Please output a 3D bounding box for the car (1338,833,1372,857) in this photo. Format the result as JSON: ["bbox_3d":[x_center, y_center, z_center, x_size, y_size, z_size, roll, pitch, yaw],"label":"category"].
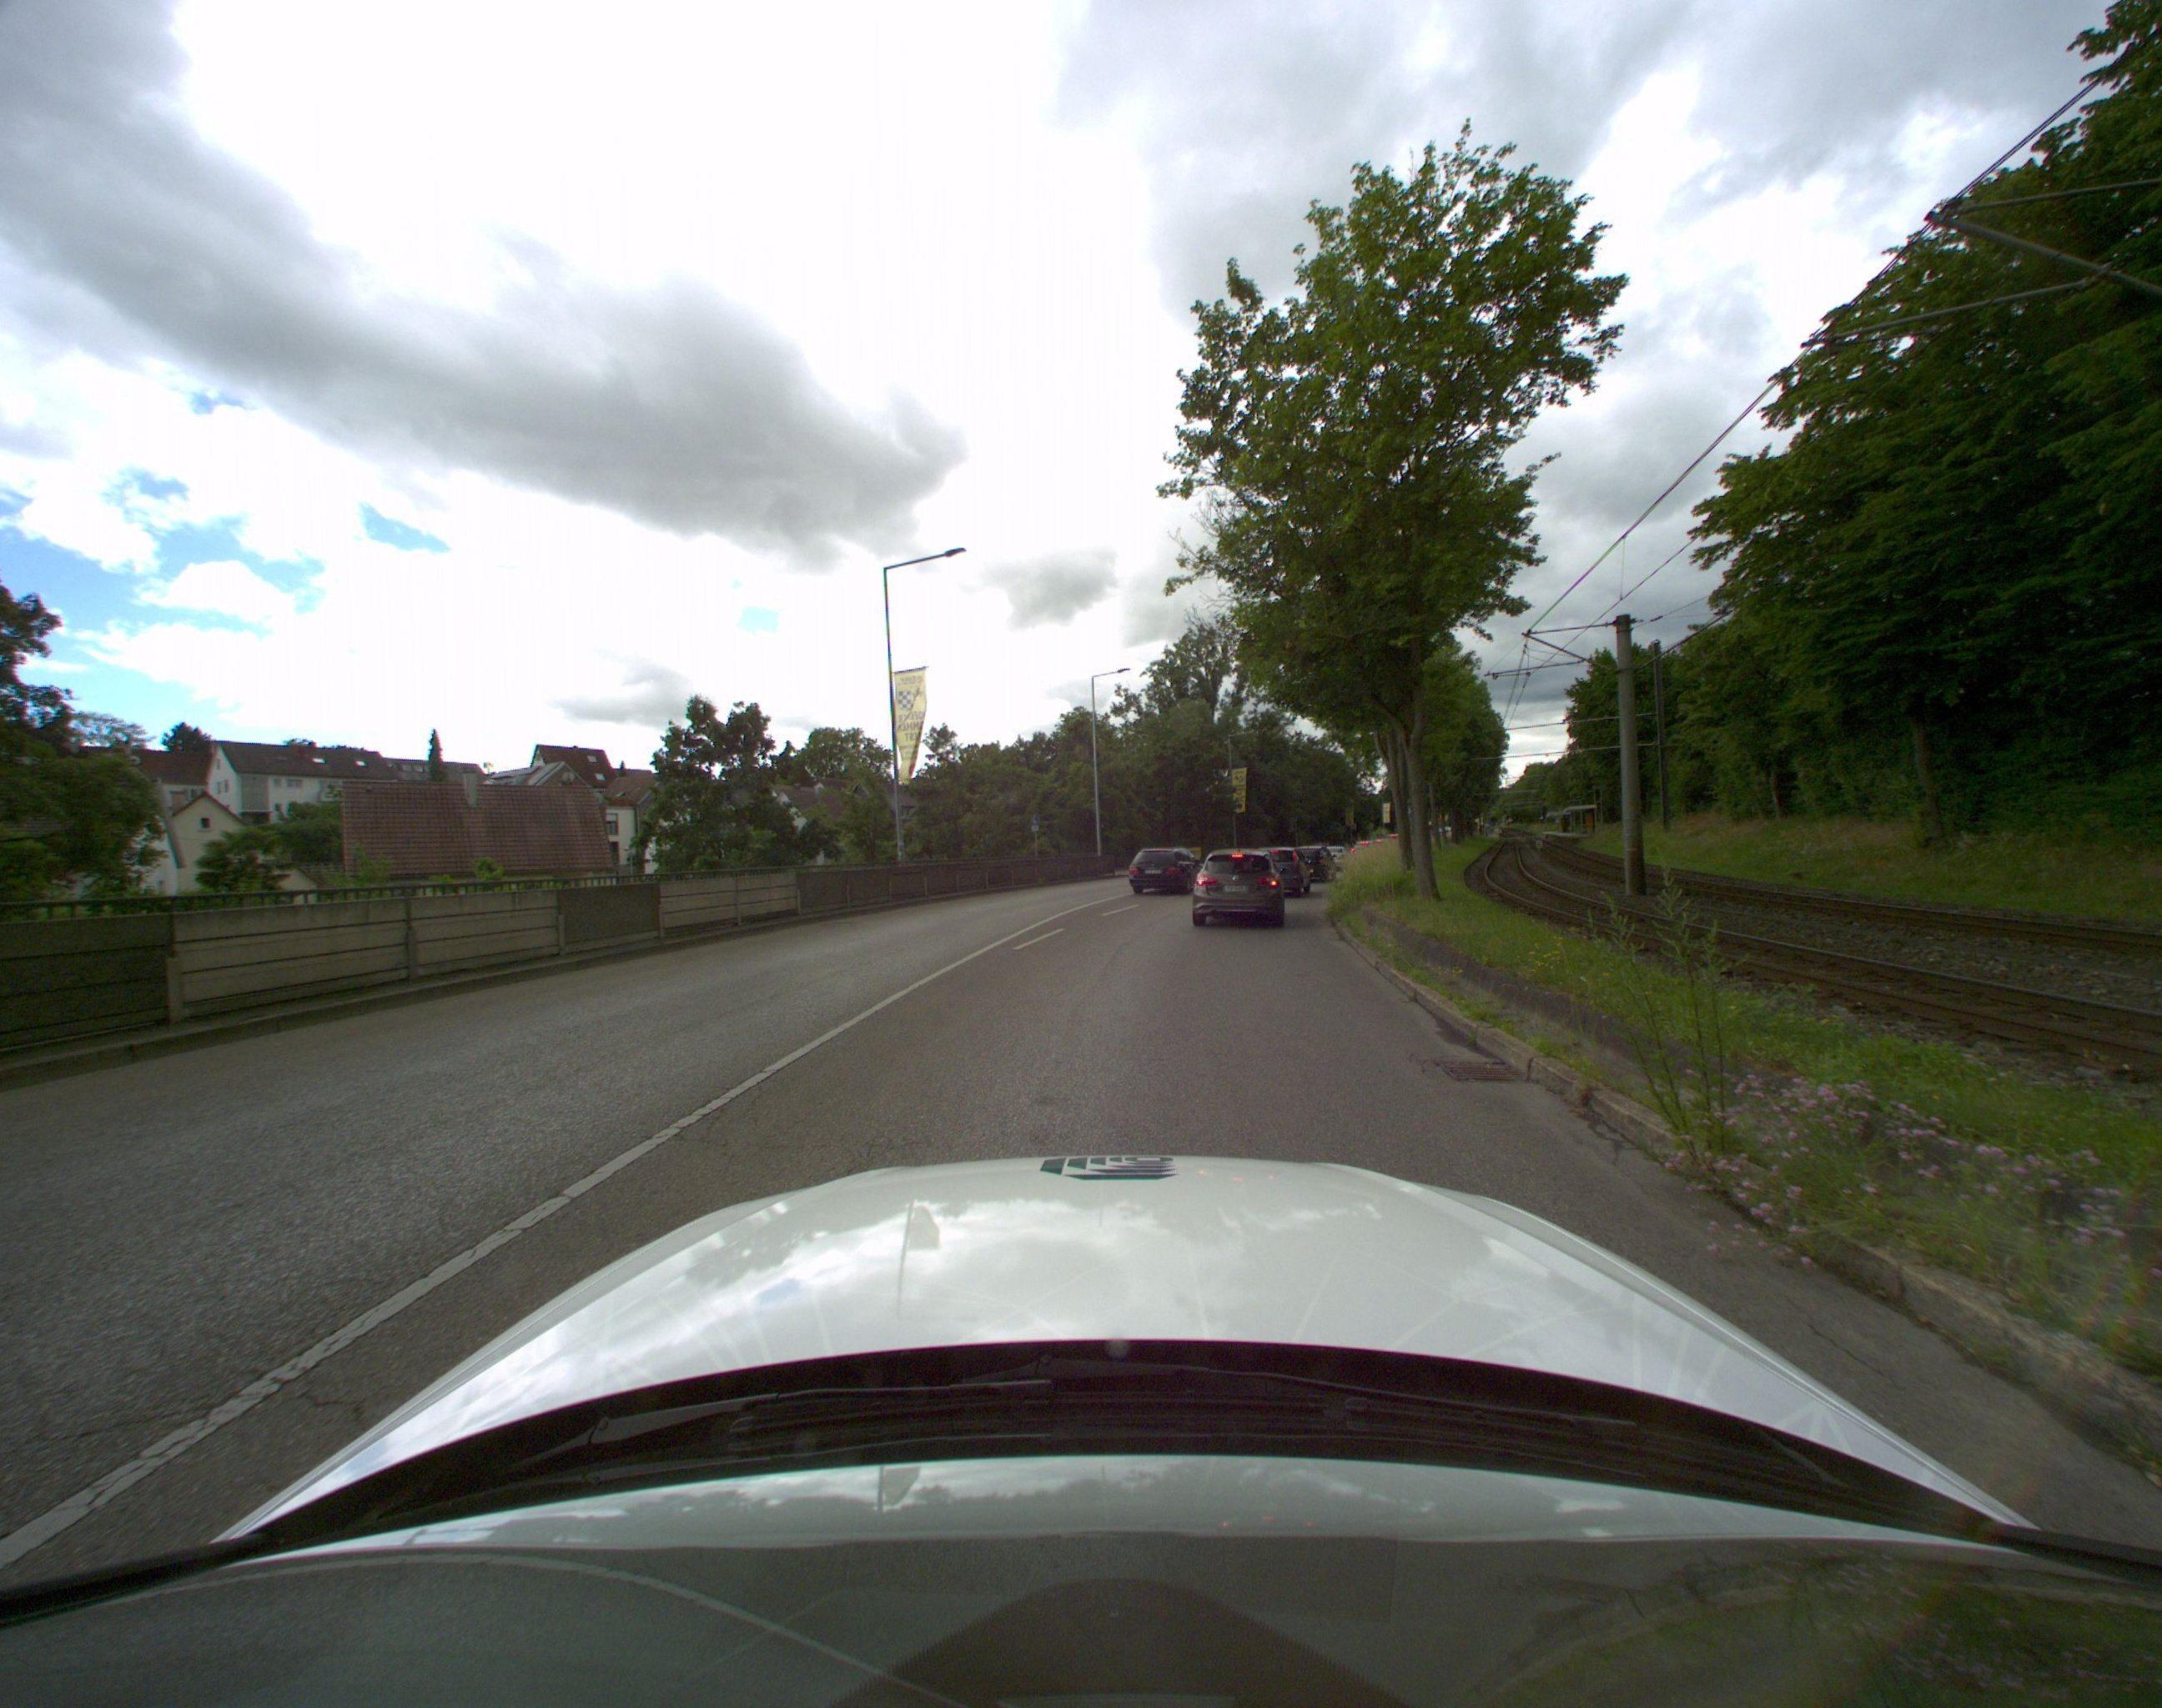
[{"bbox_3d":[18.008,-0.567,53.447,1.788,1.540,4.022,0,0,23],"label":"car"}]

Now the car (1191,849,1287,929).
[{"bbox_3d":[3.419,0.657,17.244,1.762,1.494,4.014,0,0,13],"label":"car"}]

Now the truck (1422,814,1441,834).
[{"bbox_3d":[75.319,-6.391,174.809,2.629,3.938,10.174,-1,1,29],"label":"truck"}]

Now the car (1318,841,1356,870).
[{"bbox_3d":[13.423,0.067,42.623,1.487,1.364,3.607,-3,-1,23],"label":"car"}]

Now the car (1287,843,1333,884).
[{"bbox_3d":[9.377,0.358,33.179,1.565,1.538,4.019,-3,-1,18],"label":"car"}]

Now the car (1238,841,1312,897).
[{"bbox_3d":[6.101,0.453,25.299,1.877,1.574,4.018,-1,-1,18],"label":"car"}]

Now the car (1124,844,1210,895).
[{"bbox_3d":[2.961,0.451,27.034,1.836,1.486,4.443,-2,0,19],"label":"car"}]
